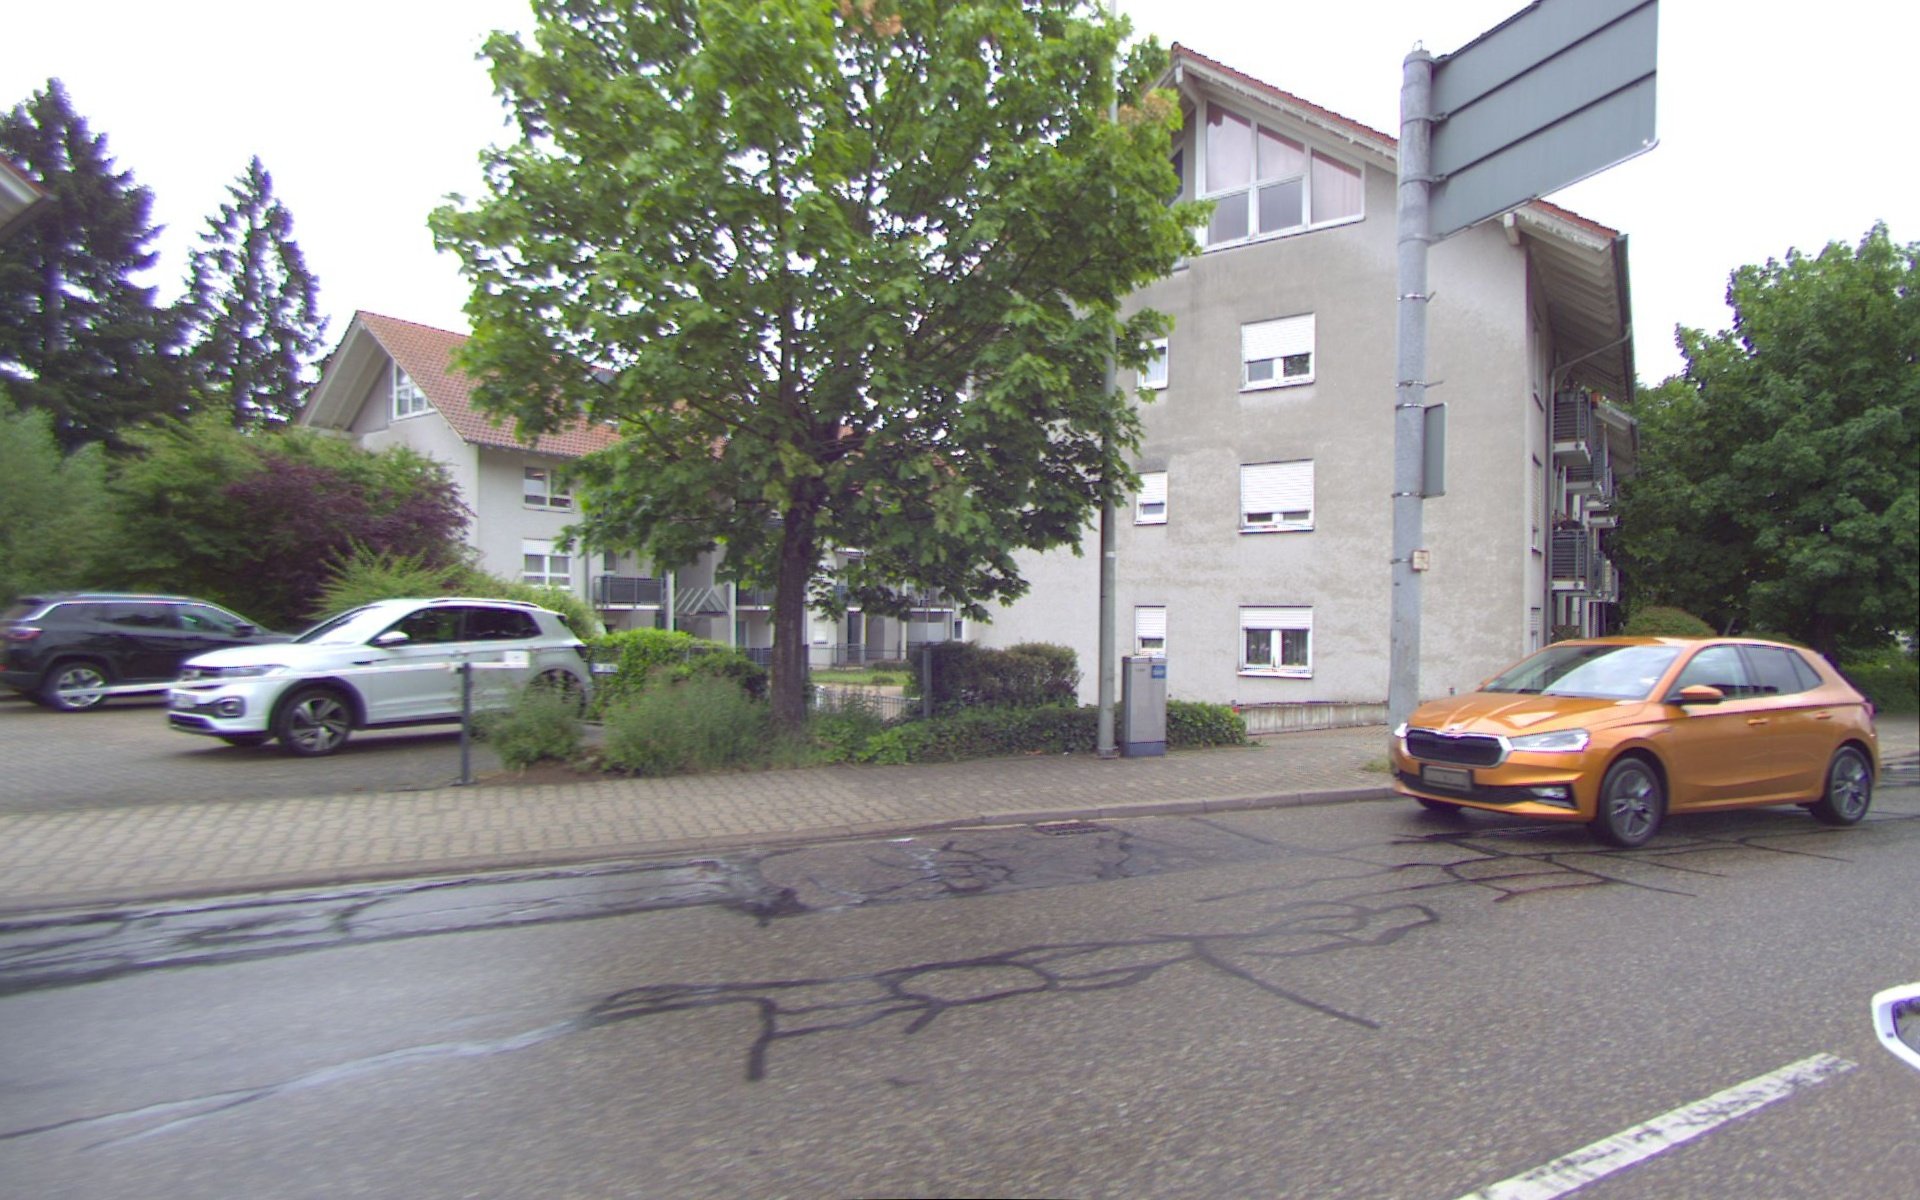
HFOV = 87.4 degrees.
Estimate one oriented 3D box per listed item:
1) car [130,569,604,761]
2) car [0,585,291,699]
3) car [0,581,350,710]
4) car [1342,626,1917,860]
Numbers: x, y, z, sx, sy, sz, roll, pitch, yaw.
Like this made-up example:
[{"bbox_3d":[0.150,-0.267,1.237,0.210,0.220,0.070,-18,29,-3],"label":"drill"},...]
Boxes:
[{"bbox_3d":[-6.269,0.665,11.071,1.966,1.672,3.990,2,-2,34],"label":"car"},{"bbox_3d":[-13.827,0.698,16.758,1.969,1.672,3.984,1,-2,39],"label":"car"},{"bbox_3d":[-11.845,0.687,15.216,1.970,1.672,3.983,1,-2,39],"label":"car"},{"bbox_3d":[5.306,0.969,8.003,4.056,1.458,1.898,1,-1,-23],"label":"car"}]
